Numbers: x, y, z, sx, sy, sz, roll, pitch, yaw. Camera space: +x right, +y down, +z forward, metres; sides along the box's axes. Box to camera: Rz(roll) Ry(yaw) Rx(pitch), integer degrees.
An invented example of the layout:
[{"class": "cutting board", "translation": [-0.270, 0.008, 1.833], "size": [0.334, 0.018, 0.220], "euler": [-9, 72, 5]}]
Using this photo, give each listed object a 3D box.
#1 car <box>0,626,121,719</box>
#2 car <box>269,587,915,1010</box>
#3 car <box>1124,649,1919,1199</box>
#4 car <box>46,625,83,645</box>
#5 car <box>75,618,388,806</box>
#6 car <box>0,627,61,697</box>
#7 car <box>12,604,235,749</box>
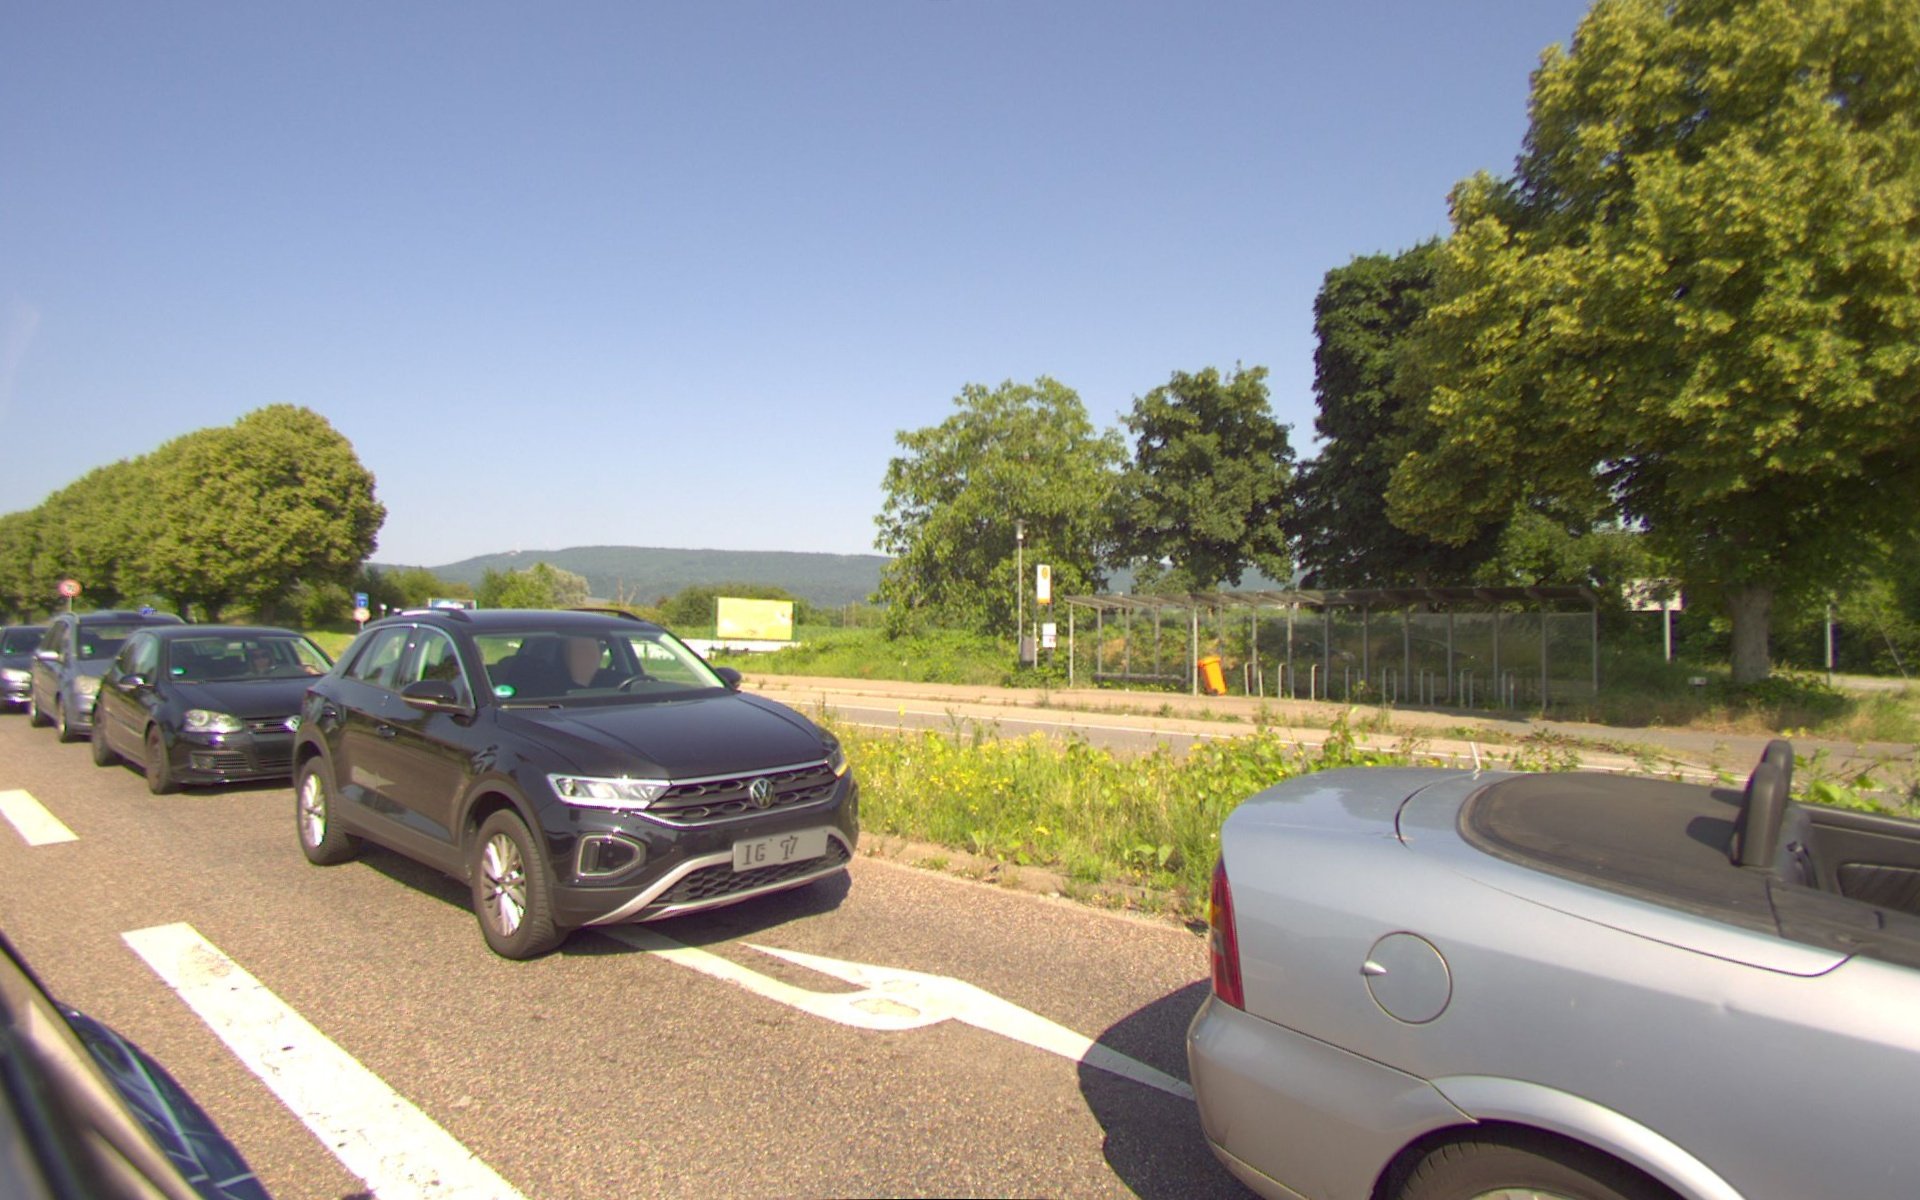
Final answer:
[{"class": "car", "translation": [-16.192, 1.190, 17.693], "size": [4.353, 1.421, 1.696], "euler": [-2, -1, 42]}, {"class": "car", "translation": [-2.316, 0.786, 5.755], "size": [4.096, 1.559, 1.710], "euler": [-2, -2, 42]}, {"class": "car", "translation": [2.419, 0.773, 1.406], "size": [4.096, 1.345, 1.656], "euler": [-1, -3, 42]}, {"class": "car", "translation": [-68.704, 2.693, 77.642], "size": [3.772, 1.453, 1.598], "euler": [-1, 0, 40]}, {"class": "car", "translation": [-7.319, 0.944, 10.014], "size": [4.096, 1.486, 1.648], "euler": [-2, -2, 42]}, {"class": "car", "translation": [-21.416, 1.318, 22.324], "size": [4.639, 1.436, 1.784], "euler": [-1, -1, 41]}, {"class": "car", "translation": [-11.596, 0.947, 13.925], "size": [4.355, 1.685, 1.723], "euler": [-2, -2, 42]}]
